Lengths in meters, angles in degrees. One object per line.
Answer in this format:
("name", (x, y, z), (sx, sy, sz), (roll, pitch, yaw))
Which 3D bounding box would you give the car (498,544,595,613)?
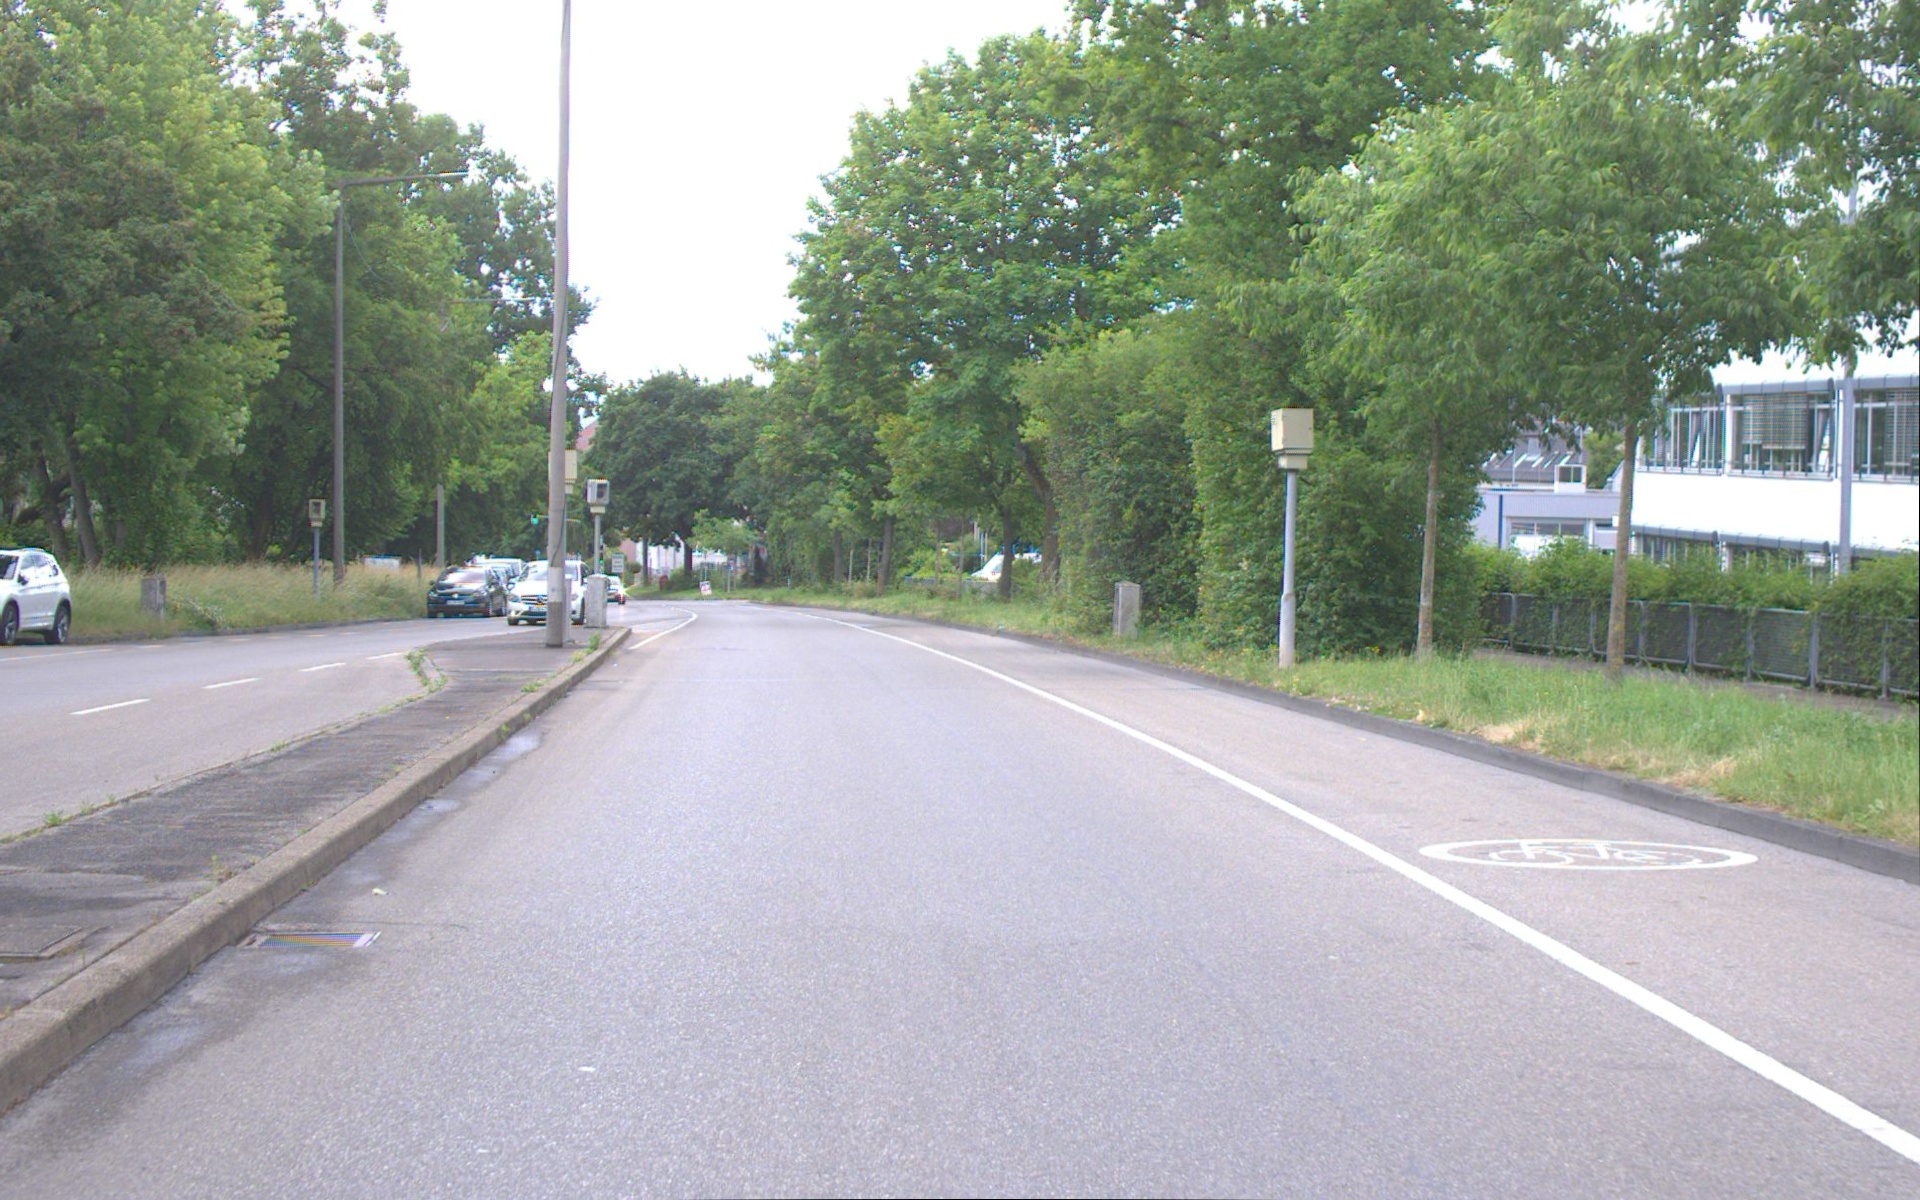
("car", (-9.908, -0.504, 82.626), (1.875, 1.565, 4.339), (1, 0, -2))

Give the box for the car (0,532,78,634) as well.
("car", (-16.521, -0.294, 57.949), (1.875, 1.661, 4.390), (1, 0, 4))

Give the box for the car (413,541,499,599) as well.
("car", (-14.216, -0.844, 97.193), (1.875, 1.565, 4.651), (1, 0, -2))
